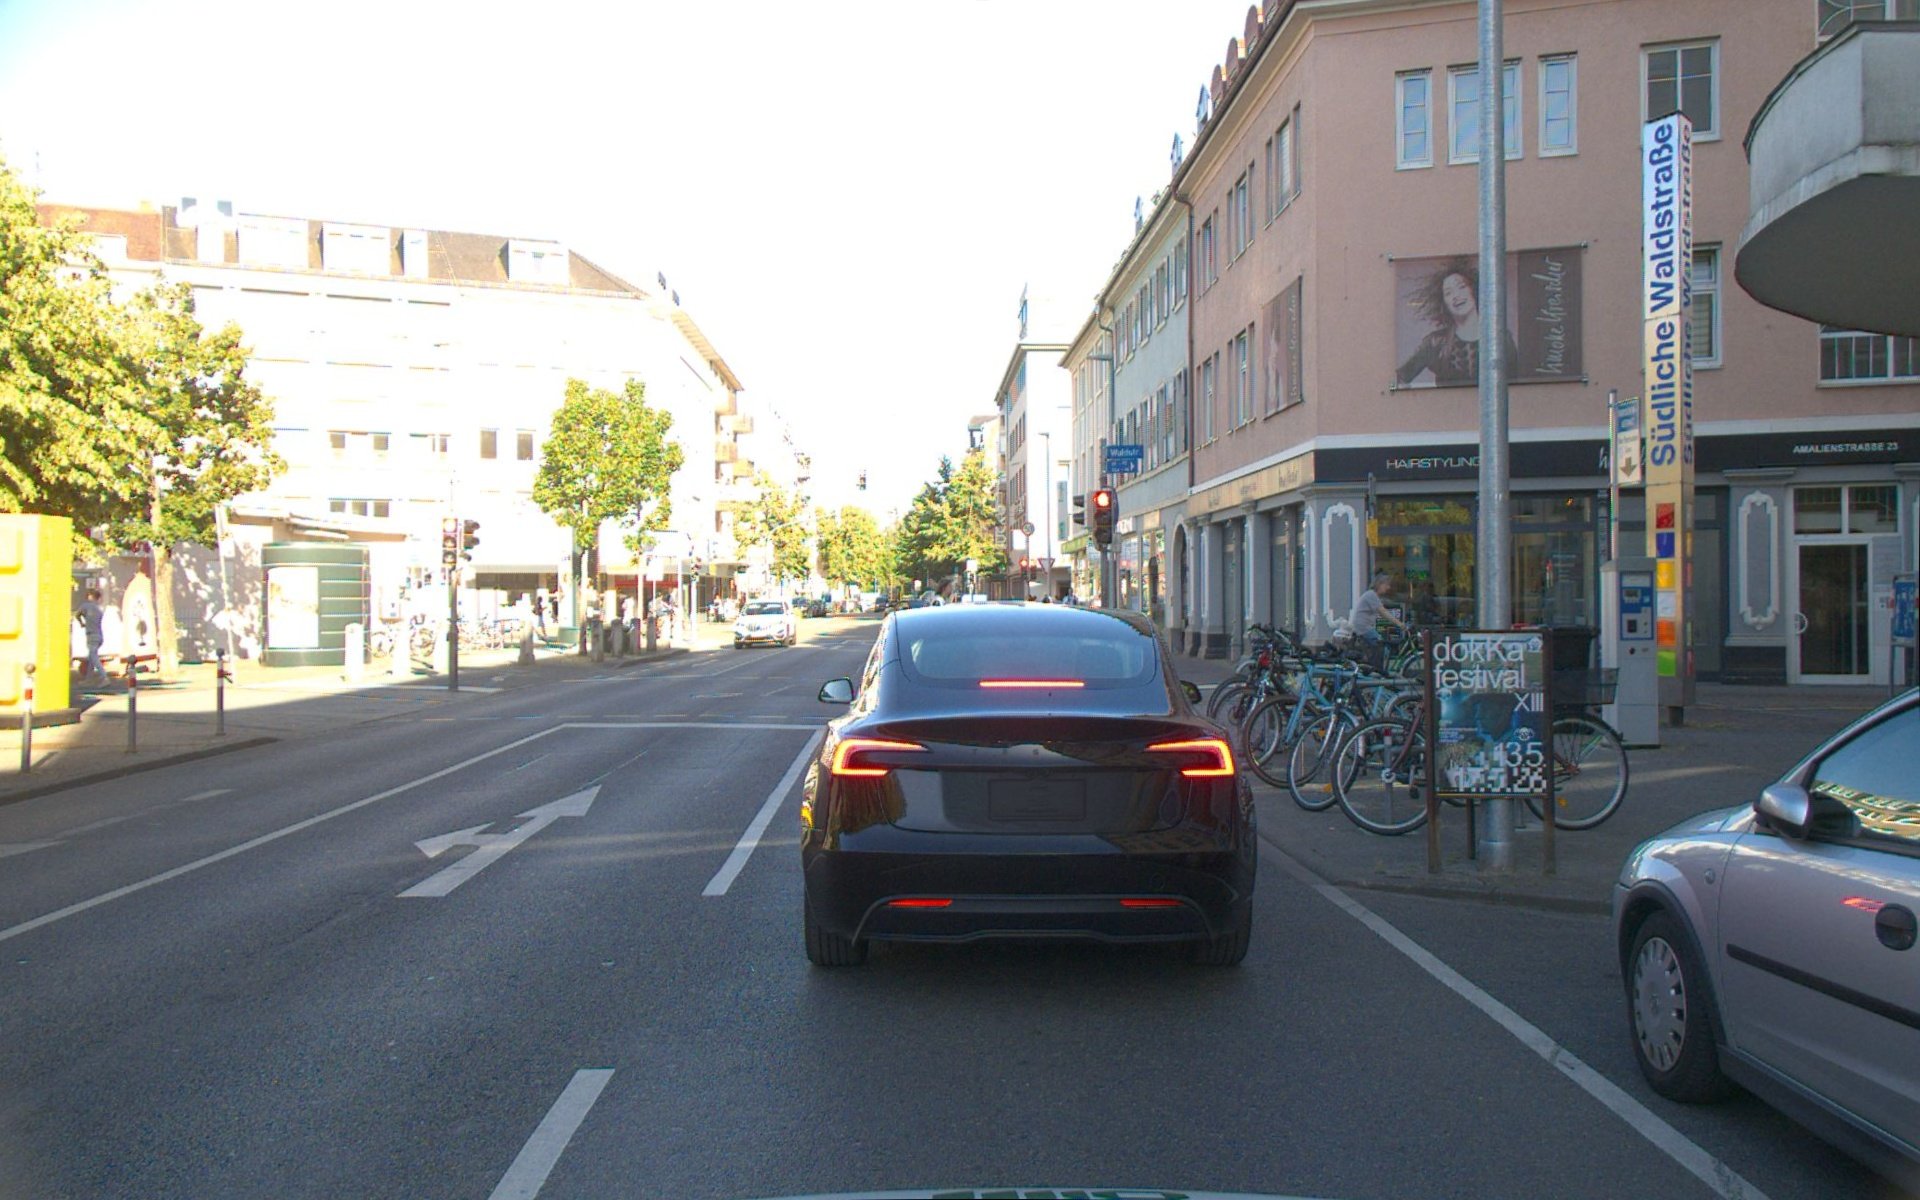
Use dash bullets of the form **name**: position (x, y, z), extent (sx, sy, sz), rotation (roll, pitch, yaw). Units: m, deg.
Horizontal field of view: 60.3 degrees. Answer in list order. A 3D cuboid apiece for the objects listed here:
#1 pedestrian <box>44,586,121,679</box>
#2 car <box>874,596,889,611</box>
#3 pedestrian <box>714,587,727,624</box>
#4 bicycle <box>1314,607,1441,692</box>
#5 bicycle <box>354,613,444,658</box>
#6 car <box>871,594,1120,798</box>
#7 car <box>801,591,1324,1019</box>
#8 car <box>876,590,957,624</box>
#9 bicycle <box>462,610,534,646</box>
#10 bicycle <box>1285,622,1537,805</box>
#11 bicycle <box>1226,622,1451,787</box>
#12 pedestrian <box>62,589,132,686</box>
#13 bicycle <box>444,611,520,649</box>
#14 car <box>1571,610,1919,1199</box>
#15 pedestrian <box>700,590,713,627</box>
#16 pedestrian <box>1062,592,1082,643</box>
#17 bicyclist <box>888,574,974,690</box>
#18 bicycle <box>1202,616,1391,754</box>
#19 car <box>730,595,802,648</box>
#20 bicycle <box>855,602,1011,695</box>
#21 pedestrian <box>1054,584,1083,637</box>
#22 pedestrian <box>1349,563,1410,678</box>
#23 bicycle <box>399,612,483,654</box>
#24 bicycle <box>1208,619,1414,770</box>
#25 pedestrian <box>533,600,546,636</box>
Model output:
- **pedestrian**: position (-15.805, 0.576, 29.797), extent (0.966, 1.665, 0.737), rotation (0, 0, 3)
- **car**: position (-9.212, 0.407, 194.786), extent (1.793, 1.754, 3.998), rotation (0, 0, -2)
- **pedestrian**: position (-13.240, 0.288, 91.500), extent (0.613, 2.049, 0.575), rotation (0, 0, -1)
- **bicycle**: position (5.430, 0.633, 21.587), extent (1.581, 1.063, 0.591), rotation (1, 0, 12)
- **bicycle**: position (-14.457, 0.909, 42.671), extent (2.040, 1.123, 0.806), rotation (0, 0, -1)
- **car**: position (0.262, 0.696, 13.964), extent (1.812, 1.480, 3.786), rotation (0, 0, 0)
- **car**: position (0.357, 0.707, 7.628), extent (1.812, 1.480, 3.786), rotation (0, 0, 0)
- **car**: position (-2.284, 0.343, 85.884), extent (2.033, 1.757, 4.597), rotation (0, 0, -35)
- **bicycle**: position (-14.574, 0.870, 52.158), extent (2.040, 1.123, 0.806), rotation (0, 0, -1)
- **bicycle**: position (3.111, 0.772, 11.454), extent (1.595, 1.180, 0.432), rotation (-2, 0, -2)
- **bicycle**: position (2.894, 0.788, 12.707), extent (1.595, 1.180, 0.432), rotation (-2, 0, -2)
- **pedestrian**: position (-15.935, 0.678, 30.540), extent (0.882, 1.755, 0.744), rotation (0, 0, 3)
- **bicycle**: position (-14.431, 0.912, 49.966), extent (2.040, 1.123, 0.806), rotation (0, 0, -1)
- **car**: position (2.910, 0.750, 3.788), extent (1.588, 1.419, 3.886), rotation (0, 0, 0)
- **pedestrian**: position (-14.008, 0.468, 91.501), extent (0.613, 2.049, 0.707), rotation (0, 0, -1)
- **pedestrian**: position (4.006, 0.619, 59.123), extent (0.689, 1.814, 0.533), rotation (0, 0, -1)
- **bicyclist**: position (-0.407, 0.443, 23.429), extent (1.074, 1.617, 0.629), rotation (0, 0, 15)
- **bicycle**: position (3.045, 0.764, 15.015), extent (1.594, 1.180, 0.433), rotation (-2, 0, 0)
- **car**: position (-6.489, 0.693, 55.710), extent (1.953, 1.567, 3.999), rotation (-3, 0, -1)
- **bicycle**: position (-0.383, 0.684, 23.431), extent (2.080, 1.221, 0.629), rotation (-3, -1, 15)
- **pedestrian**: position (3.858, 0.364, 59.094), extent (0.979, 1.883, 0.615), rotation (0, 0, -1)
- **pedestrian**: position (5.466, 0.263, 21.583), extent (0.727, 1.466, 0.583), rotation (1, 0, 11)
- **bicycle**: position (-14.163, 0.896, 45.196), extent (2.040, 1.123, 0.806), rotation (0, 0, -1)
- **bicycle**: position (2.927, 0.778, 13.831), extent (1.595, 1.180, 0.432), rotation (-2, 0, -2)
- **pedestrian**: position (-15.670, 0.665, 61.626), extent (0.412, 1.363, 0.393), rotation (0, 0, -8)
